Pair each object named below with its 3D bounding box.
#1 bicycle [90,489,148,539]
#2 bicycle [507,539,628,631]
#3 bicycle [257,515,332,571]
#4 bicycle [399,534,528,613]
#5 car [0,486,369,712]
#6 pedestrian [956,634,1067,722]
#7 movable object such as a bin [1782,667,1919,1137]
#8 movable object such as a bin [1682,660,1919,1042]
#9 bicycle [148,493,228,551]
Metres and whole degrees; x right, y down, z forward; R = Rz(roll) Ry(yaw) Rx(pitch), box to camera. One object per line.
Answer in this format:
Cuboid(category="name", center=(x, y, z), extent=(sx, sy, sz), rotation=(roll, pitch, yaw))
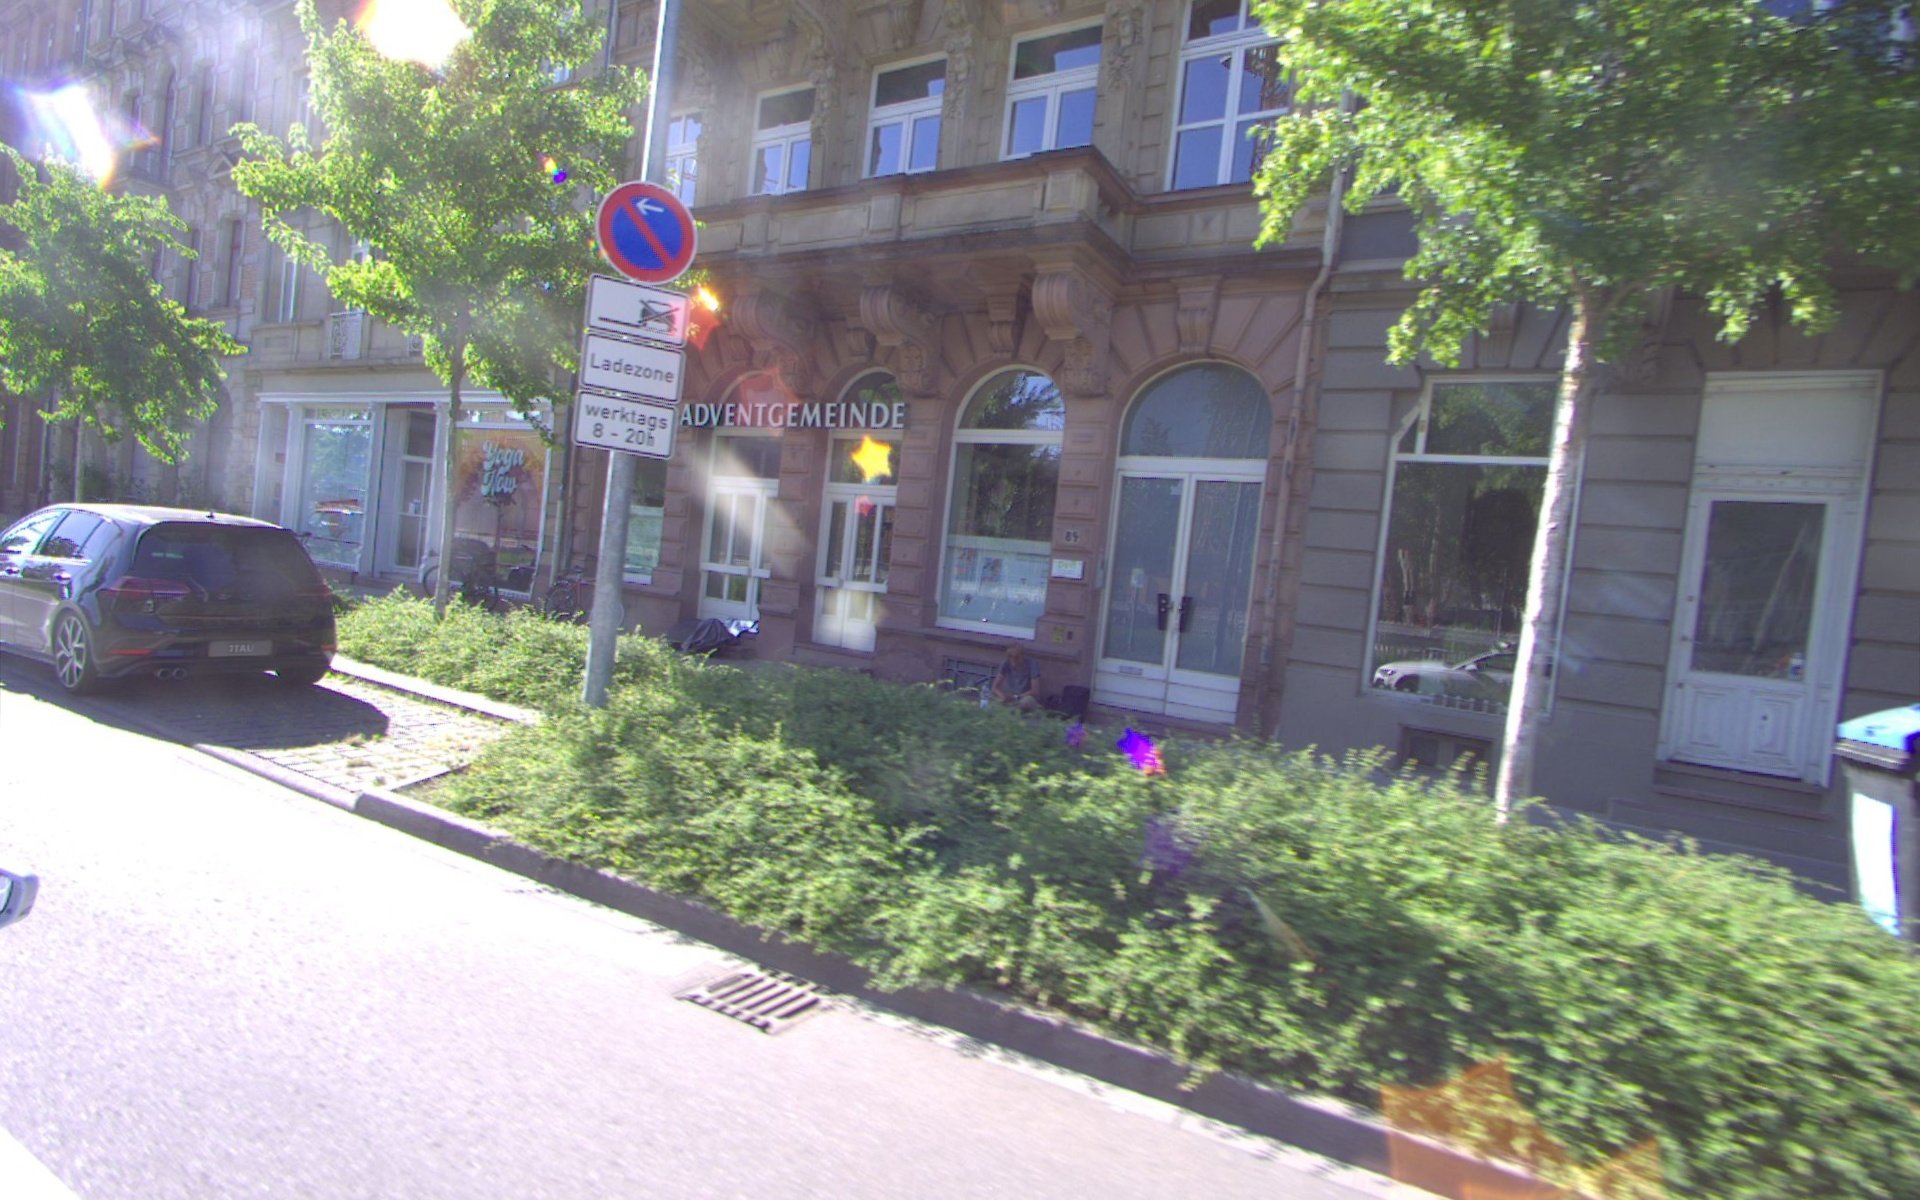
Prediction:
Cuboid(category="bicycle", center=(-21.205, -2.177, 25.360), extent=(2.023, 1.105, 0.481), rotation=(7, 3, 32))
Cuboid(category="bicycle", center=(-6.027, -0.234, 15.425), extent=(1.771, 1.217, 0.748), rotation=(7, 3, 32))
Cuboid(category="bicycle", center=(-13.805, -1.185, 20.860), extent=(1.979, 0.957, 0.447), rotation=(7, 1, 32))
Cuboid(category="bicycle", center=(-8.483, -0.466, 17.173), extent=(2.144, 1.120, 0.875), rotation=(7, 5, 29))
Cuboid(category="car", center=(-7.409, -0.154, 8.911), extent=(4.373, 1.497, 1.766), rotation=(6, 3, 29))
Cuboid(category="pedestrian", center=(0.593, 0.855, 11.284), extent=(0.962, 0.828, 0.873), rotation=(7, 0, 18))
Cuboid(category="movable object such as a bin", center=(3.986, 1.104, 3.380), extent=(1.618, 1.483, 1.270), rotation=(10, 3, 36))
Cuboid(category="movable object such as a bin", center=(4.668, 1.175, 4.836), extent=(1.720, 1.516, 1.372), rotation=(7, 4, 33))
Cuboid(category="bicycle", center=(-17.673, -1.789, 23.011), extent=(2.162, 1.105, 0.721), rotation=(7, 3, 32))
